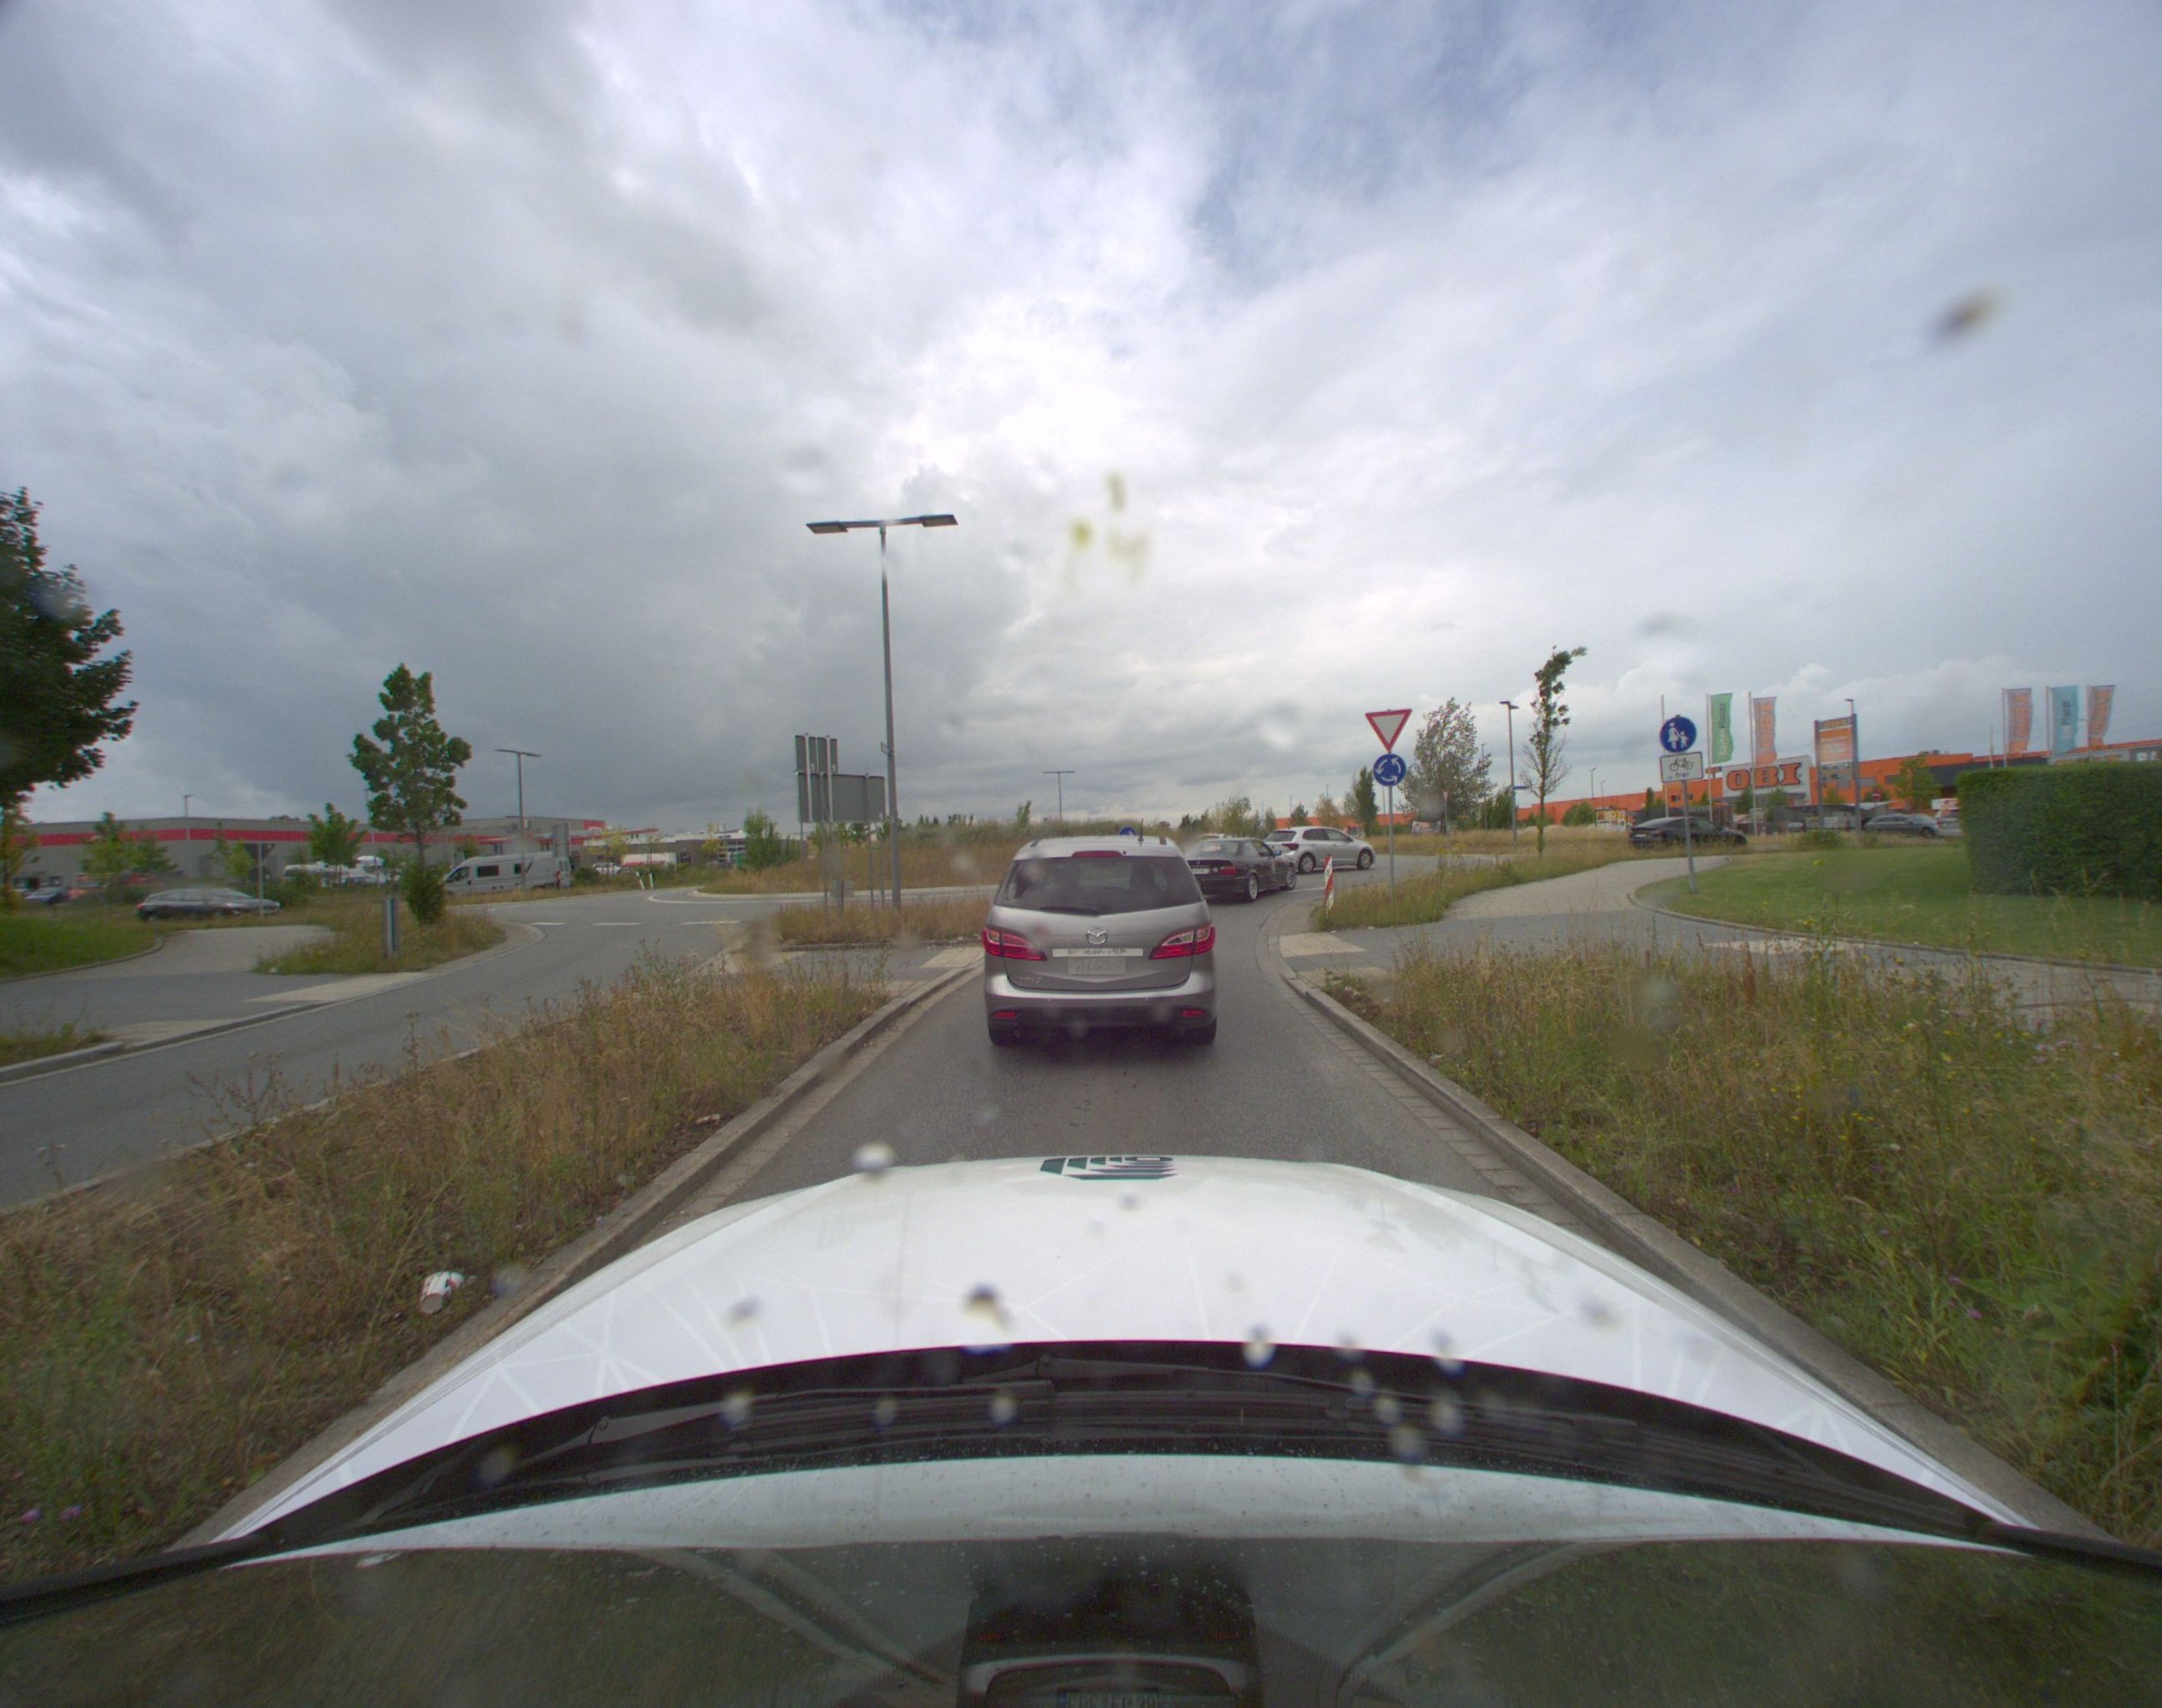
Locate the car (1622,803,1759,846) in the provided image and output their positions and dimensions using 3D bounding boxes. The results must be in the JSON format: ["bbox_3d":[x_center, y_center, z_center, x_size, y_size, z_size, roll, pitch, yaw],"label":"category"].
[{"bbox_3d":[25.238,-1.233,33.770,4.765,1.498,1.936,-4,2,-13],"label":"car"}]

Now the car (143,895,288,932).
[{"bbox_3d":[-33.766,2.302,31.856,3.582,1.251,1.671,-1,-1,-9],"label":"car"}]

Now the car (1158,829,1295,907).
[{"bbox_3d":[3.343,0.222,18.068,1.721,1.403,4.023,0,3,30],"label":"car"}]

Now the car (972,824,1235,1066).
[{"bbox_3d":[0.221,0.583,7.417,1.731,1.598,4.000,-1,1,2],"label":"car"}]

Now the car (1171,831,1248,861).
[{"bbox_3d":[7.976,-0.460,50.764,4.284,1.648,1.883,-2,2,35],"label":"car"}]

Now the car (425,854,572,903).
[{"bbox_3d":[-29.997,1.235,42.178,5.709,2.387,2.267,0,-1,-19],"label":"car"}]

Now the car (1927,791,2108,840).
[{"bbox_3d":[39.314,-1.596,34.336,4.723,1.738,1.953,-3,2,15],"label":"car"}]

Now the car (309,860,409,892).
[{"bbox_3d":[-66.718,2.002,75.498,2.455,2.820,7.686,-1,-1,-1],"label":"car"}]

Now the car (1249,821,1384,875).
[{"bbox_3d":[7.492,-0.244,25.834,4.011,1.463,1.797,-3,3,-28],"label":"car"}]
